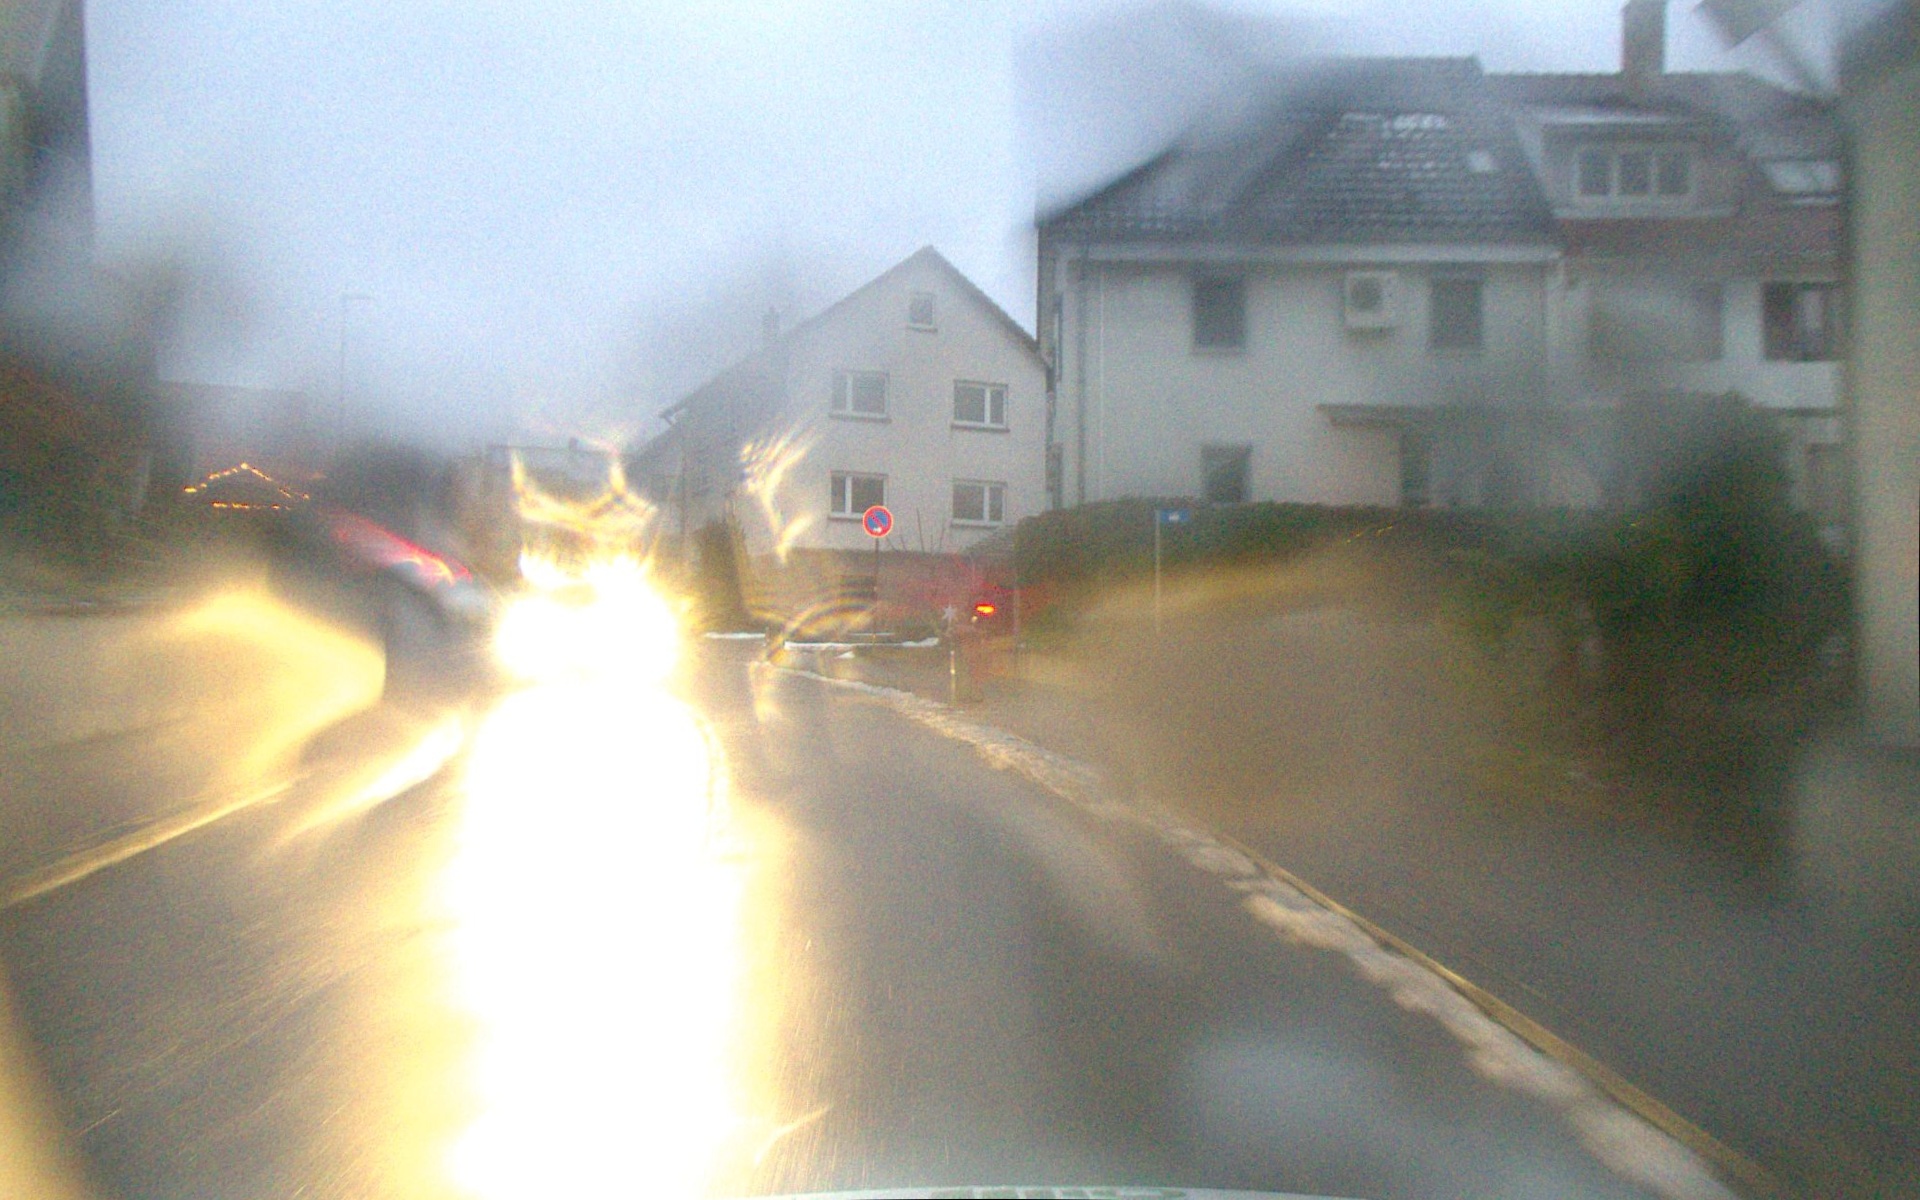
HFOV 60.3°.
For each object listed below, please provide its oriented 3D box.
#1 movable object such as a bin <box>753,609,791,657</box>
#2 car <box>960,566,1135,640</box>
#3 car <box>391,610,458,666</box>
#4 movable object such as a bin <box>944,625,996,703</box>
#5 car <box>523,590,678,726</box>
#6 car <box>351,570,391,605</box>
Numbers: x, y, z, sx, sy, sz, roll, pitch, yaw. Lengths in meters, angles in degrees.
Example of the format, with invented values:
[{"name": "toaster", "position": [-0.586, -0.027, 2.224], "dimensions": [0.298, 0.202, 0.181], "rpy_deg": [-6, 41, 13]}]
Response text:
[{"name": "movable object such as a bin", "position": [-3.736, 0.650, 32.782], "dimensions": [0.626, 0.933, 0.682], "rpy_deg": [2, 0, -16]}, {"name": "car", "position": [2.179, 0.069, 41.521], "dimensions": [3.922, 1.646, 1.991], "rpy_deg": [2, 1, -16]}, {"name": "car", "position": [-15.190, 1.039, 46.836], "dimensions": [1.595, 1.463, 3.633], "rpy_deg": [0, 0, -21]}, {"name": "movable object such as a bin", "position": [0.125, 0.805, 21.084], "dimensions": [0.527, 0.954, 0.688], "rpy_deg": [1, 0, -10]}, {"name": "car", "position": [-5.879, 0.872, 27.645], "dimensions": [2.070, 2.062, 4.975], "rpy_deg": [0, 0, -7]}, {"name": "car", "position": [-28.210, -0.597, 79.172], "dimensions": [1.660, 1.612, 4.149], "rpy_deg": [0, 0, -21]}]
